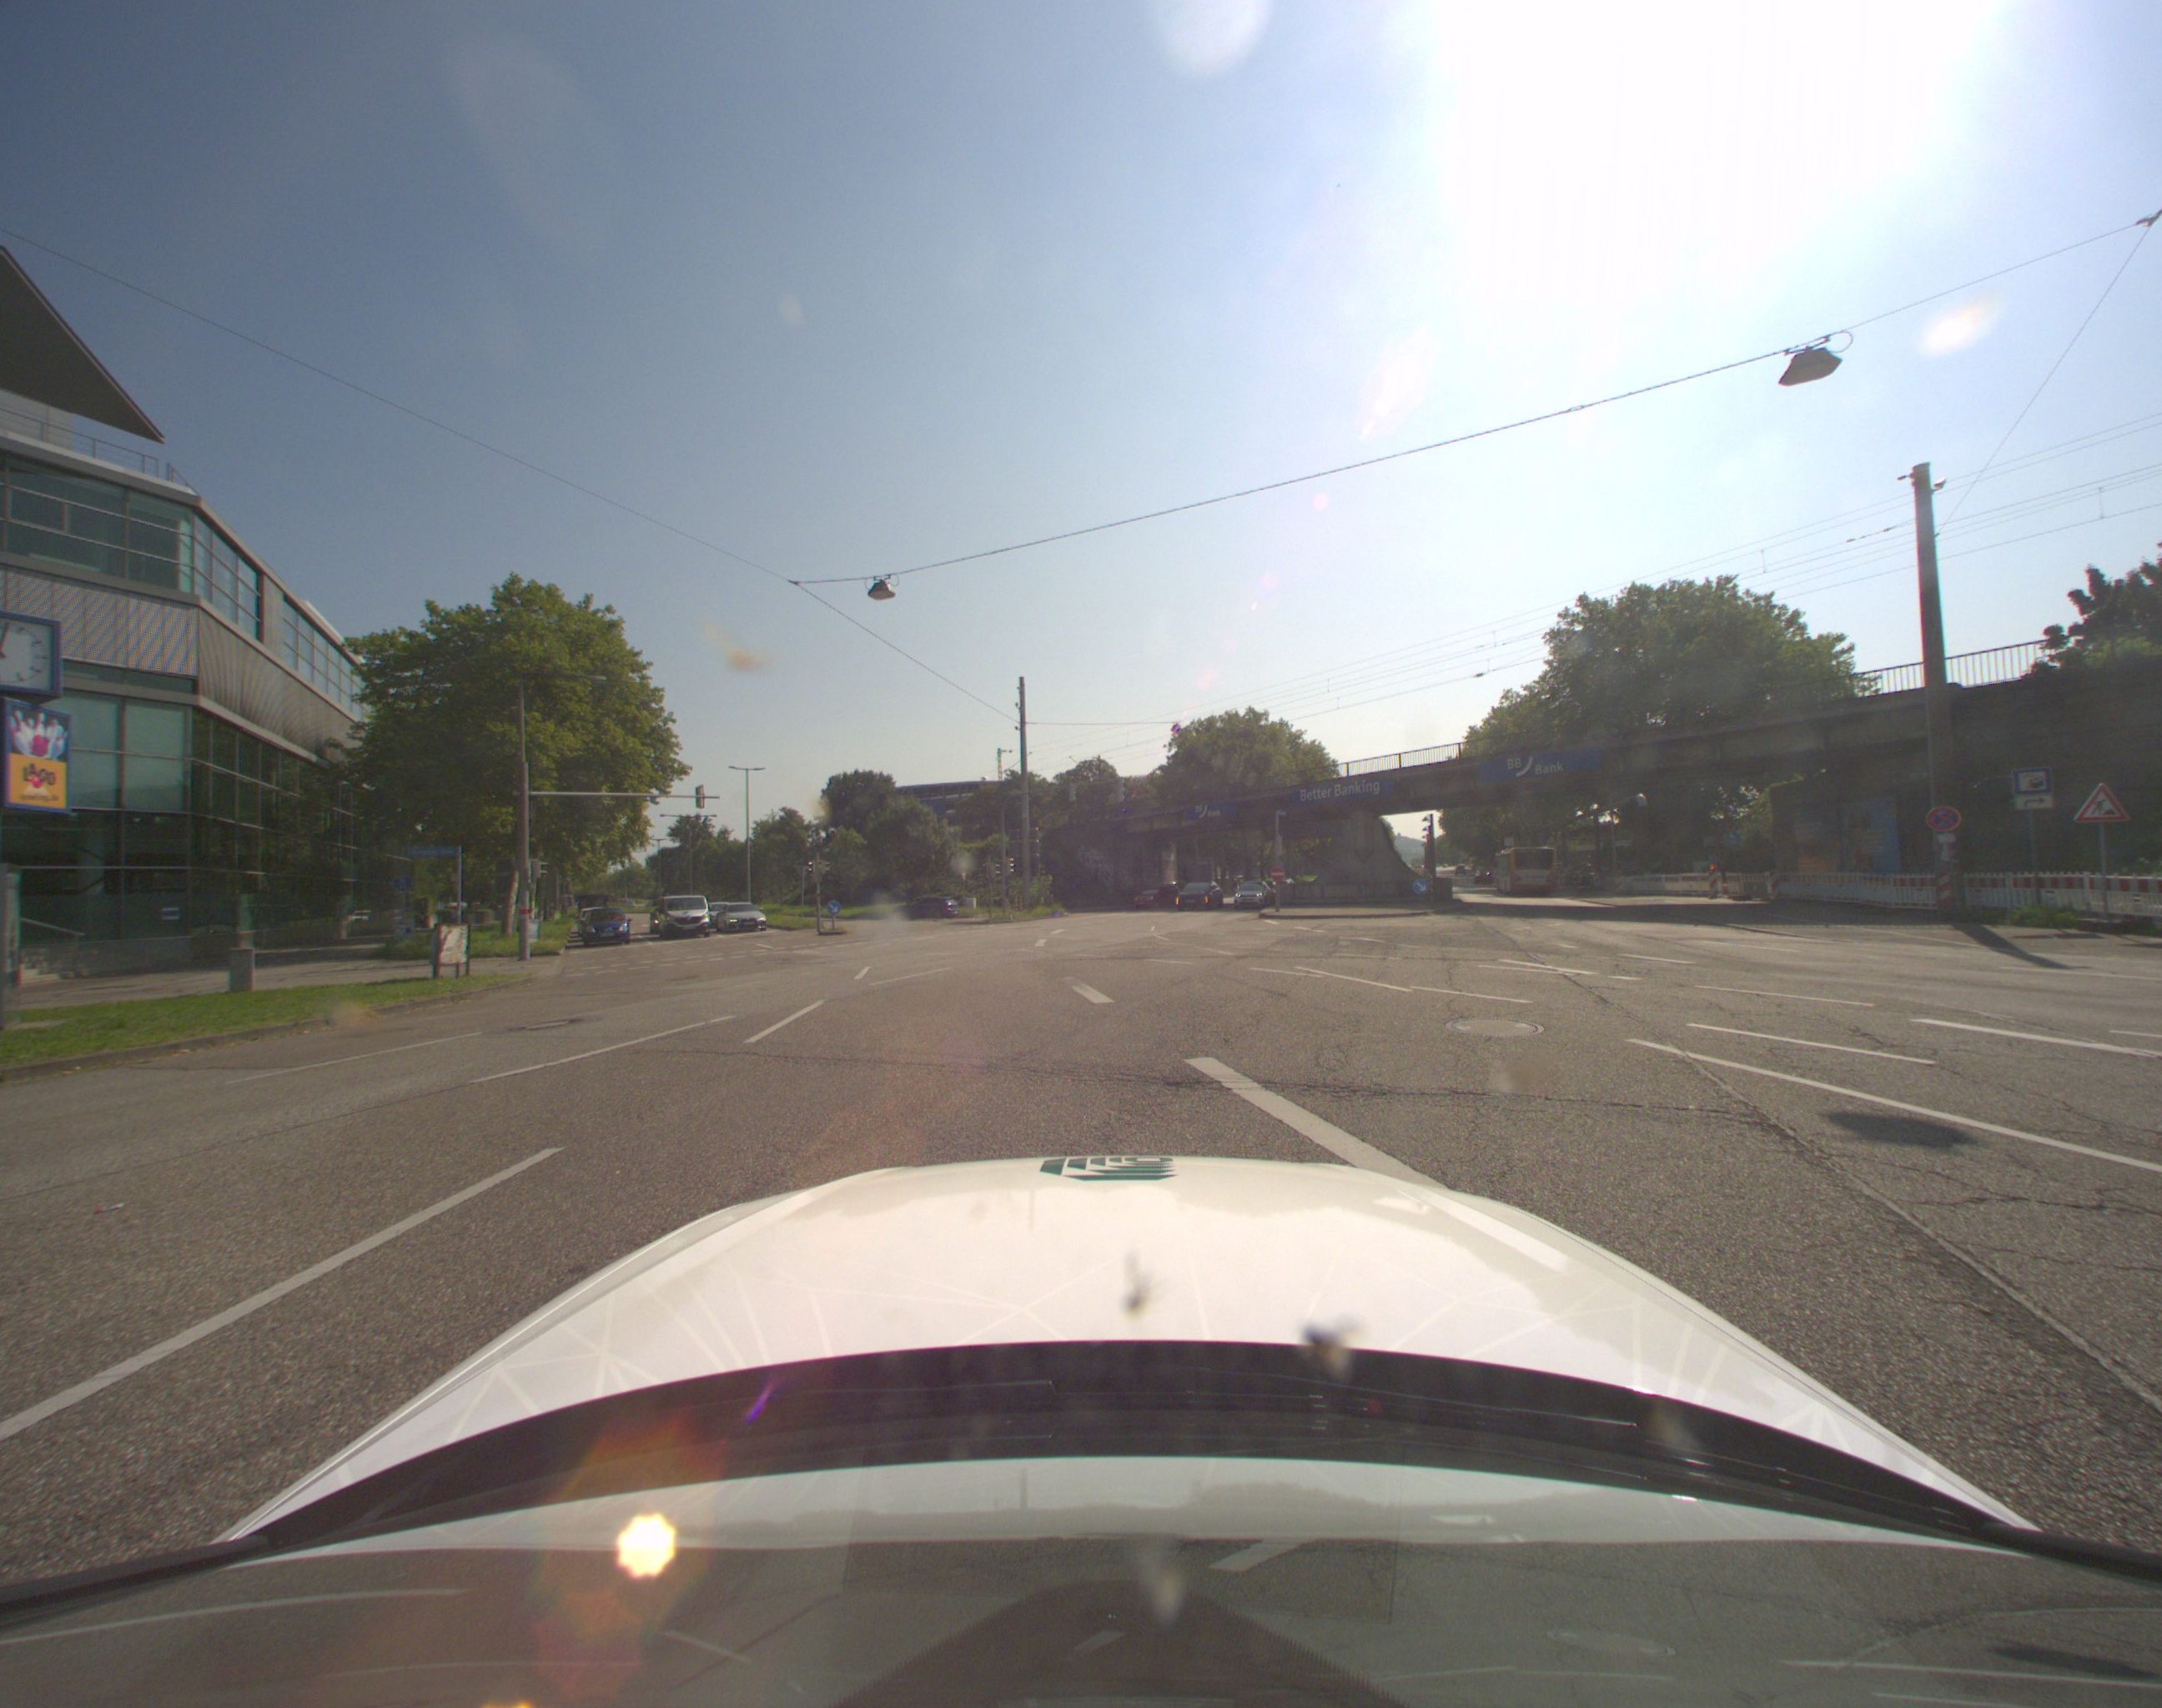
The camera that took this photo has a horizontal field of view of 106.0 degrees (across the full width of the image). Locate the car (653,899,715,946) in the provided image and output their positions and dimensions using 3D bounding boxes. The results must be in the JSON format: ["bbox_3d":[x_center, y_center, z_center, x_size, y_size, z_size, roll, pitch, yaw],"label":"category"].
[{"bbox_3d":[-18.507,3.087,37.794,1.941,1.958,5.157,-1,-2,-33],"label":"car"}]

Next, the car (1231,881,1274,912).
[{"bbox_3d":[9.300,2.261,43.933,1.707,1.538,3.713,-4,-3,19],"label":"car"}]

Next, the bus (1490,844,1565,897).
[{"bbox_3d":[30.003,1.150,55.249,3.107,3.113,12.355,2,-1,23],"label":"bus"}]

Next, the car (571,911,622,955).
[{"bbox_3d":[-20.324,3.250,34.203,1.679,1.535,3.693,-3,-1,-31],"label":"car"}]

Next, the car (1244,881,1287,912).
[{"bbox_3d":[10.999,2.469,48.317,1.977,1.573,4.369,-2,0,19],"label":"car"}]

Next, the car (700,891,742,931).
[{"bbox_3d":[-20.753,3.235,46.916,1.625,1.534,4.062,-3,7,-32],"label":"car"}]

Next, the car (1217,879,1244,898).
[{"bbox_3d":[14.805,3.385,80.620,1.977,1.849,4.020,0,-2,21],"label":"car"}]

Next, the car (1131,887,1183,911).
[{"bbox_3d":[5.051,2.935,53.886,1.623,1.467,3.575,0,-1,41],"label":"car"}]

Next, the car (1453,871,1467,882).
[{"bbox_3d":[70.763,4.224,152.029,1.977,2.014,4.019,0,-2,20],"label":"car"}]

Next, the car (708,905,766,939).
[{"bbox_3d":[-17.064,3.311,40.289,1.848,1.443,4.557,-3,-2,-33],"label":"car"}]

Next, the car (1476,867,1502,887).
[{"bbox_3d":[43.803,2.470,87.464,1.977,2.014,4.019,0,-2,20],"label":"car"}]

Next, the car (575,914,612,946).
[{"bbox_3d":[-27.156,4.202,45.390,1.679,1.535,3.693,-3,-2,-31],"label":"car"}]

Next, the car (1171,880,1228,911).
[{"bbox_3d":[6.794,2.332,46.245,1.884,1.617,4.499,-4,-3,25],"label":"car"}]

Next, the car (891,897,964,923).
[{"bbox_3d":[-9.403,3.406,50.016,3.957,1.428,1.793,0,-2,15],"label":"car"}]
